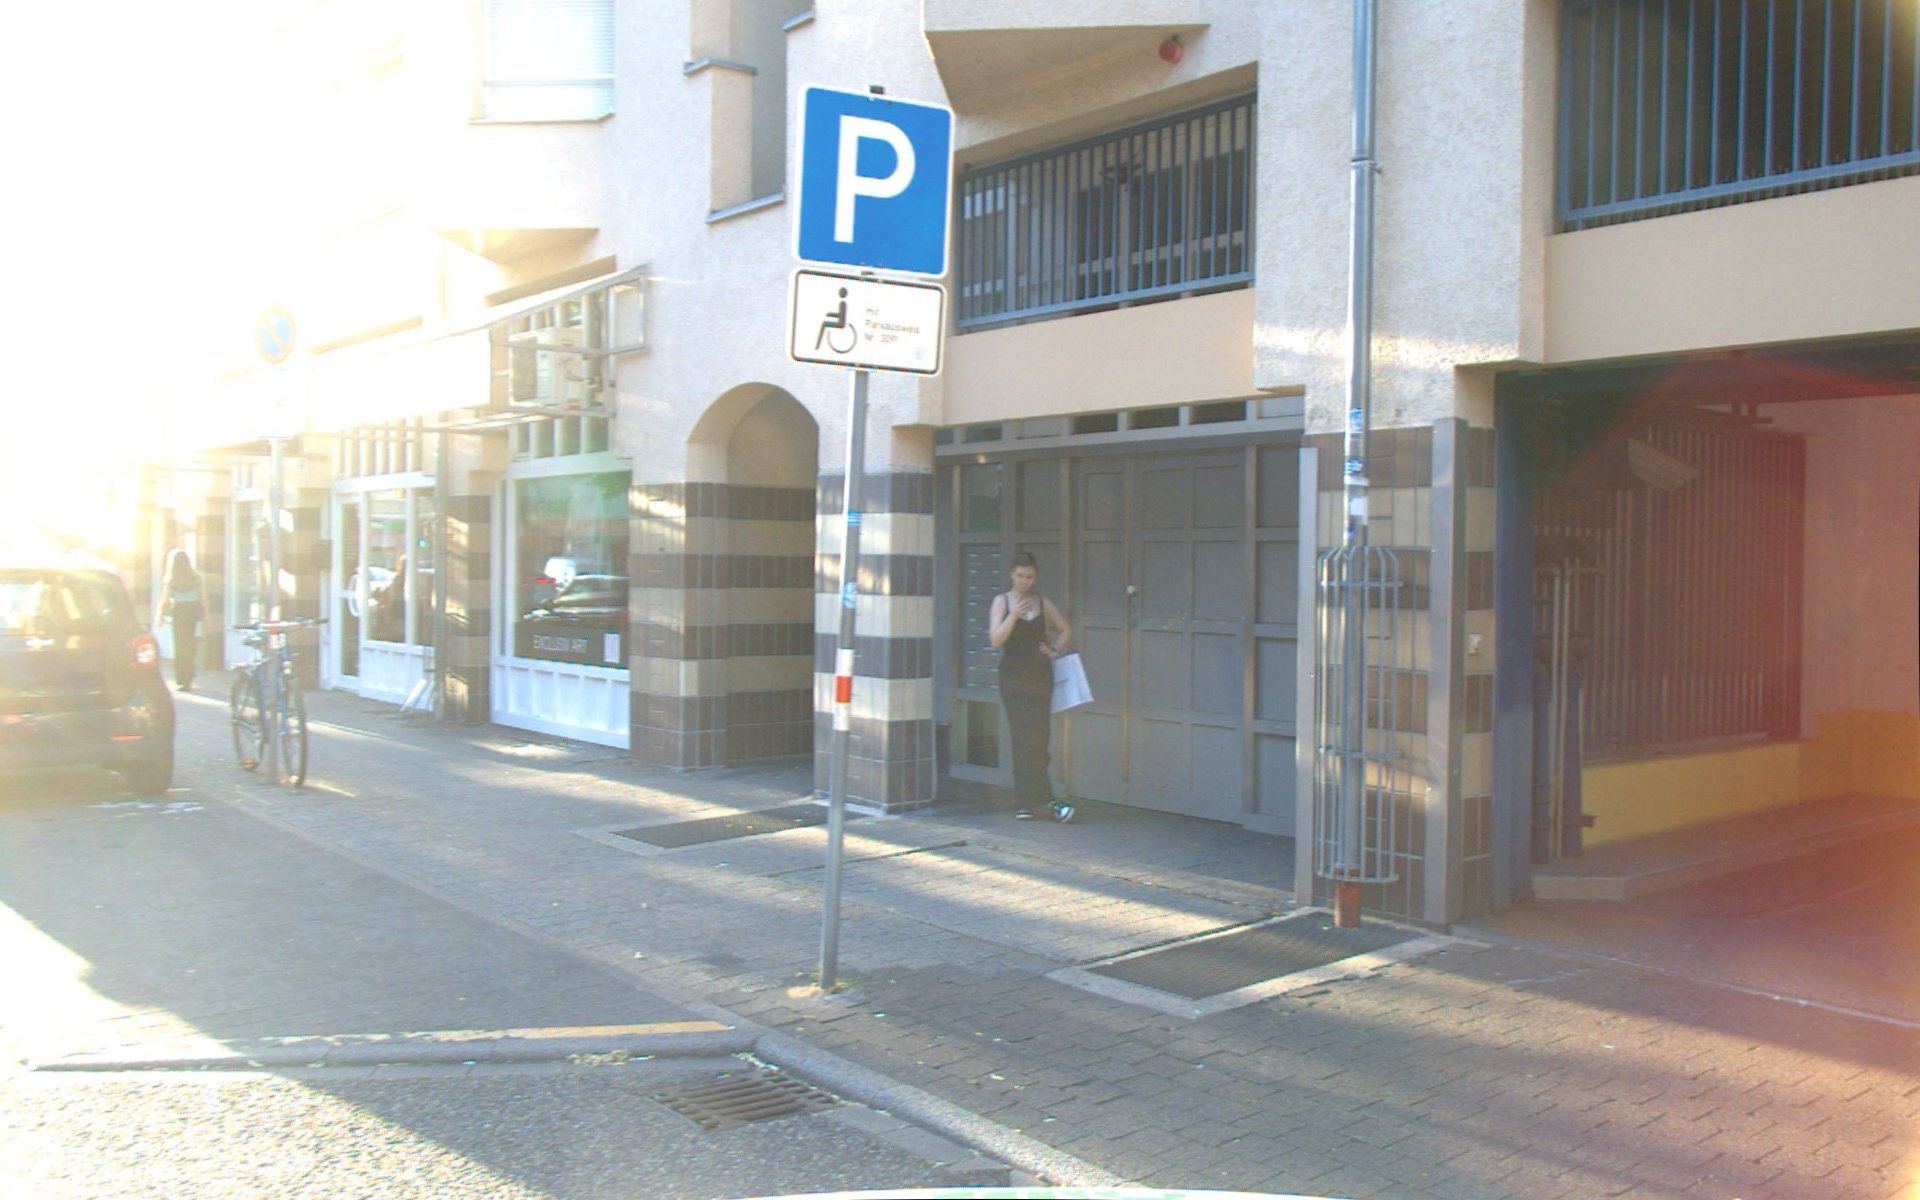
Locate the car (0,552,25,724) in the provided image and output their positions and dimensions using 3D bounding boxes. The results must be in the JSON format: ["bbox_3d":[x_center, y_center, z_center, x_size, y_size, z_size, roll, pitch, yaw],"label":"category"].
[{"bbox_3d":[-10.724,0.316,16.458,1.779,1.607,3.730,0,1,-41],"label":"car"}]

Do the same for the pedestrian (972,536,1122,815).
[{"bbox_3d":[0.508,0.430,9.815,0.762,1.600,0.532,0,1,-12],"label":"pedestrian"}]

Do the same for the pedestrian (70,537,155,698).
[{"bbox_3d":[-9.422,0.174,18.380,0.626,1.729,1.025,-1,1,-40],"label":"pedestrian"}]

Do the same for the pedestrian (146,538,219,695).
[{"bbox_3d":[-8.808,0.171,18.719,0.556,1.729,0.820,-1,1,-40],"label":"pedestrian"}]

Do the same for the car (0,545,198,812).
[{"bbox_3d":[-6.863,0.424,11.565,1.779,1.607,3.908,0,1,-41],"label":"car"}]

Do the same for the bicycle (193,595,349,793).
[{"bbox_3d":[-4.843,0.600,11.559,0.554,1.227,1.952,0,1,-37],"label":"bicycle"}]
